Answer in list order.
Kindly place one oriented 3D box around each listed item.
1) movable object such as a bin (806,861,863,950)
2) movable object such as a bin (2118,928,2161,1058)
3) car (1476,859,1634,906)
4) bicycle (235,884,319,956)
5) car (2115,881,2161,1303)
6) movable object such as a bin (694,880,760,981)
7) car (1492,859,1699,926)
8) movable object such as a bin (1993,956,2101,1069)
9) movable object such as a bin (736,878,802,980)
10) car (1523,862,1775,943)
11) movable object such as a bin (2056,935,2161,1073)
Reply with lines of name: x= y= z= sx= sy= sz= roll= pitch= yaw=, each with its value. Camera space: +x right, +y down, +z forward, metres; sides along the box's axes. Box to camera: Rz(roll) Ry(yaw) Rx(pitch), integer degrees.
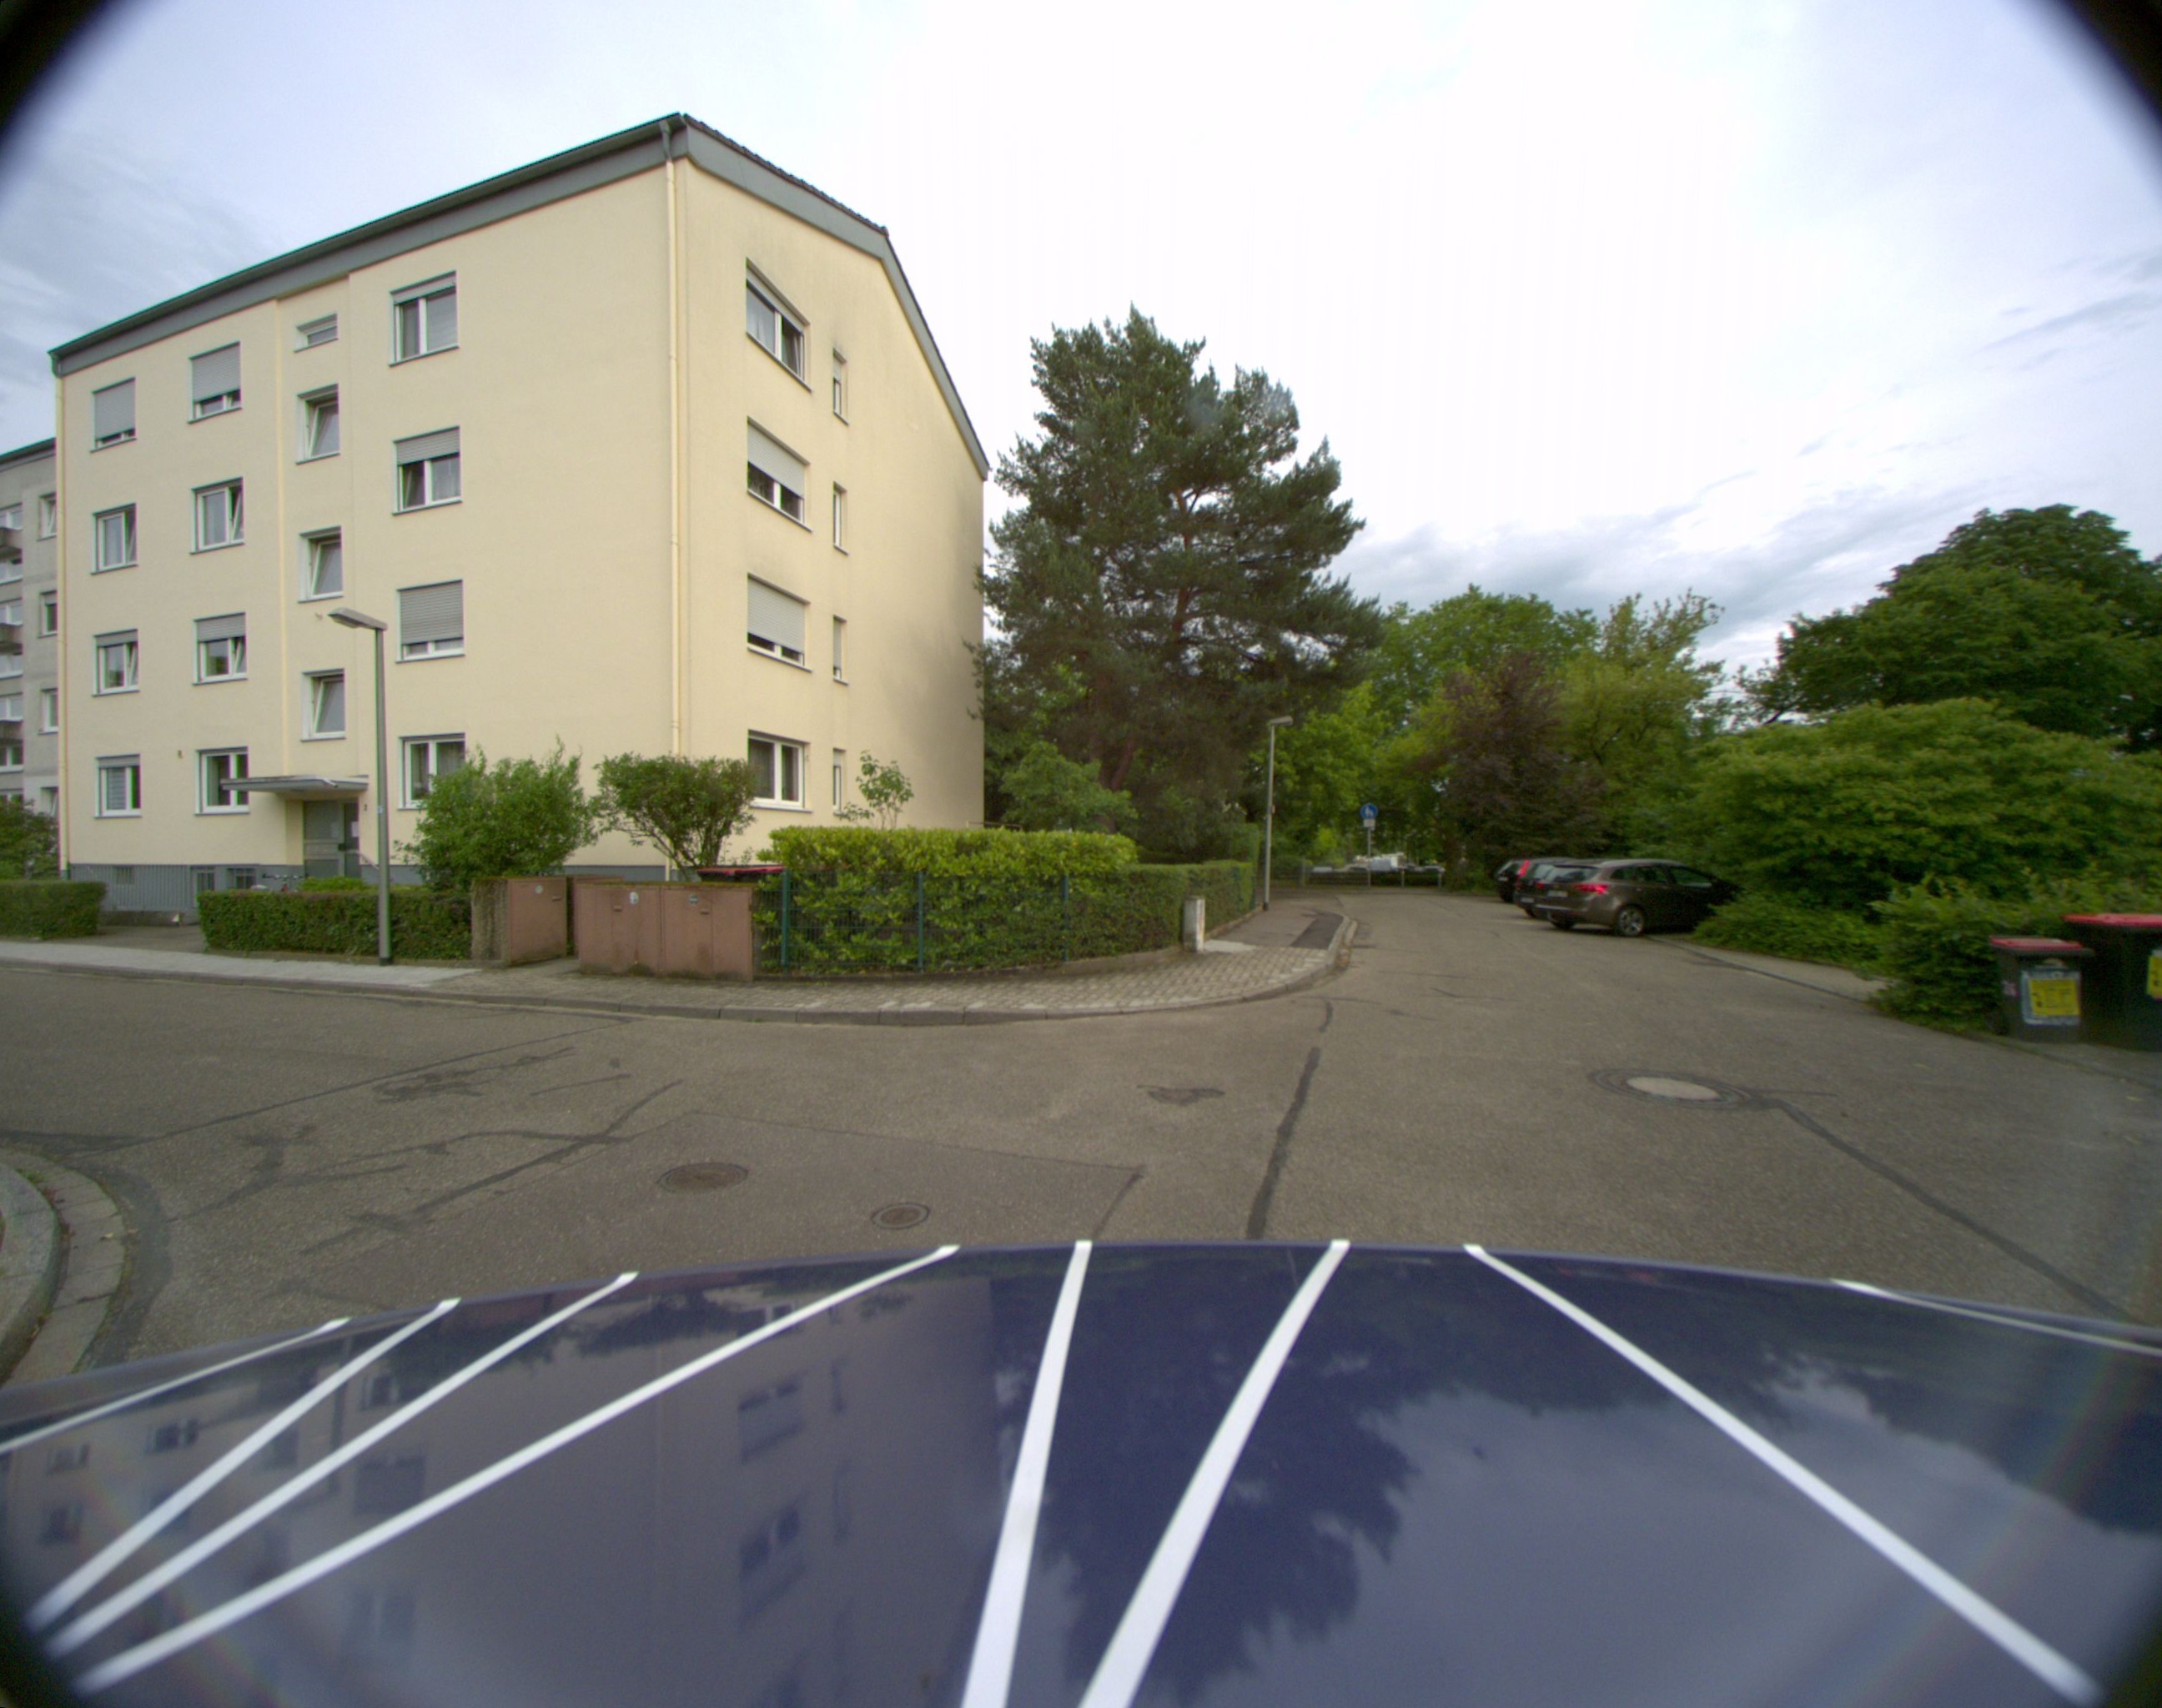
movable object such as a bin: x=-3.303 y=0.671 z=10.188 sx=0.514 sy=1.158 sz=0.507 roll=0 pitch=0 yaw=17
movable object such as a bin: x=8.687 y=1.114 z=5.985 sx=0.337 sy=0.988 sz=0.539 roll=0 pitch=2 yaw=16
car: x=14.739 y=0.850 z=23.723 sx=4.000 sy=1.367 sz=1.700 roll=0 pitch=1 yaw=-7
bicycle: x=-12.753 y=1.025 z=12.052 sx=1.415 sy=1.069 sz=0.319 roll=0 pitch=2 yaw=18
car: x=4.171 y=0.907 z=0.603 sx=1.743 sy=1.522 sz=4.256 roll=2 pitch=1 yaw=18
movable object such as a bin: x=-4.355 y=0.920 z=9.369 sx=0.514 sy=1.181 sz=0.507 roll=0 pitch=1 yaw=17
car: x=12.320 y=0.877 z=18.303 sx=4.000 sy=1.482 sz=1.700 roll=0 pitch=1 yaw=-7
movable object such as a bin: x=7.922 y=1.286 z=6.243 sx=0.378 sy=0.832 sz=0.387 roll=0 pitch=2 yaw=16
movable object such as a bin: x=-3.762 y=0.882 z=9.175 sx=0.514 sy=1.180 sz=0.507 roll=0 pitch=0 yaw=17
car: x=11.353 y=0.927 z=15.326 sx=4.000 sy=1.482 sz=1.700 roll=0 pitch=1 yaw=-7
movable object such as a bin: x=8.325 y=1.181 z=6.080 sx=0.378 sy=0.988 sz=0.539 roll=0 pitch=2 yaw=16
